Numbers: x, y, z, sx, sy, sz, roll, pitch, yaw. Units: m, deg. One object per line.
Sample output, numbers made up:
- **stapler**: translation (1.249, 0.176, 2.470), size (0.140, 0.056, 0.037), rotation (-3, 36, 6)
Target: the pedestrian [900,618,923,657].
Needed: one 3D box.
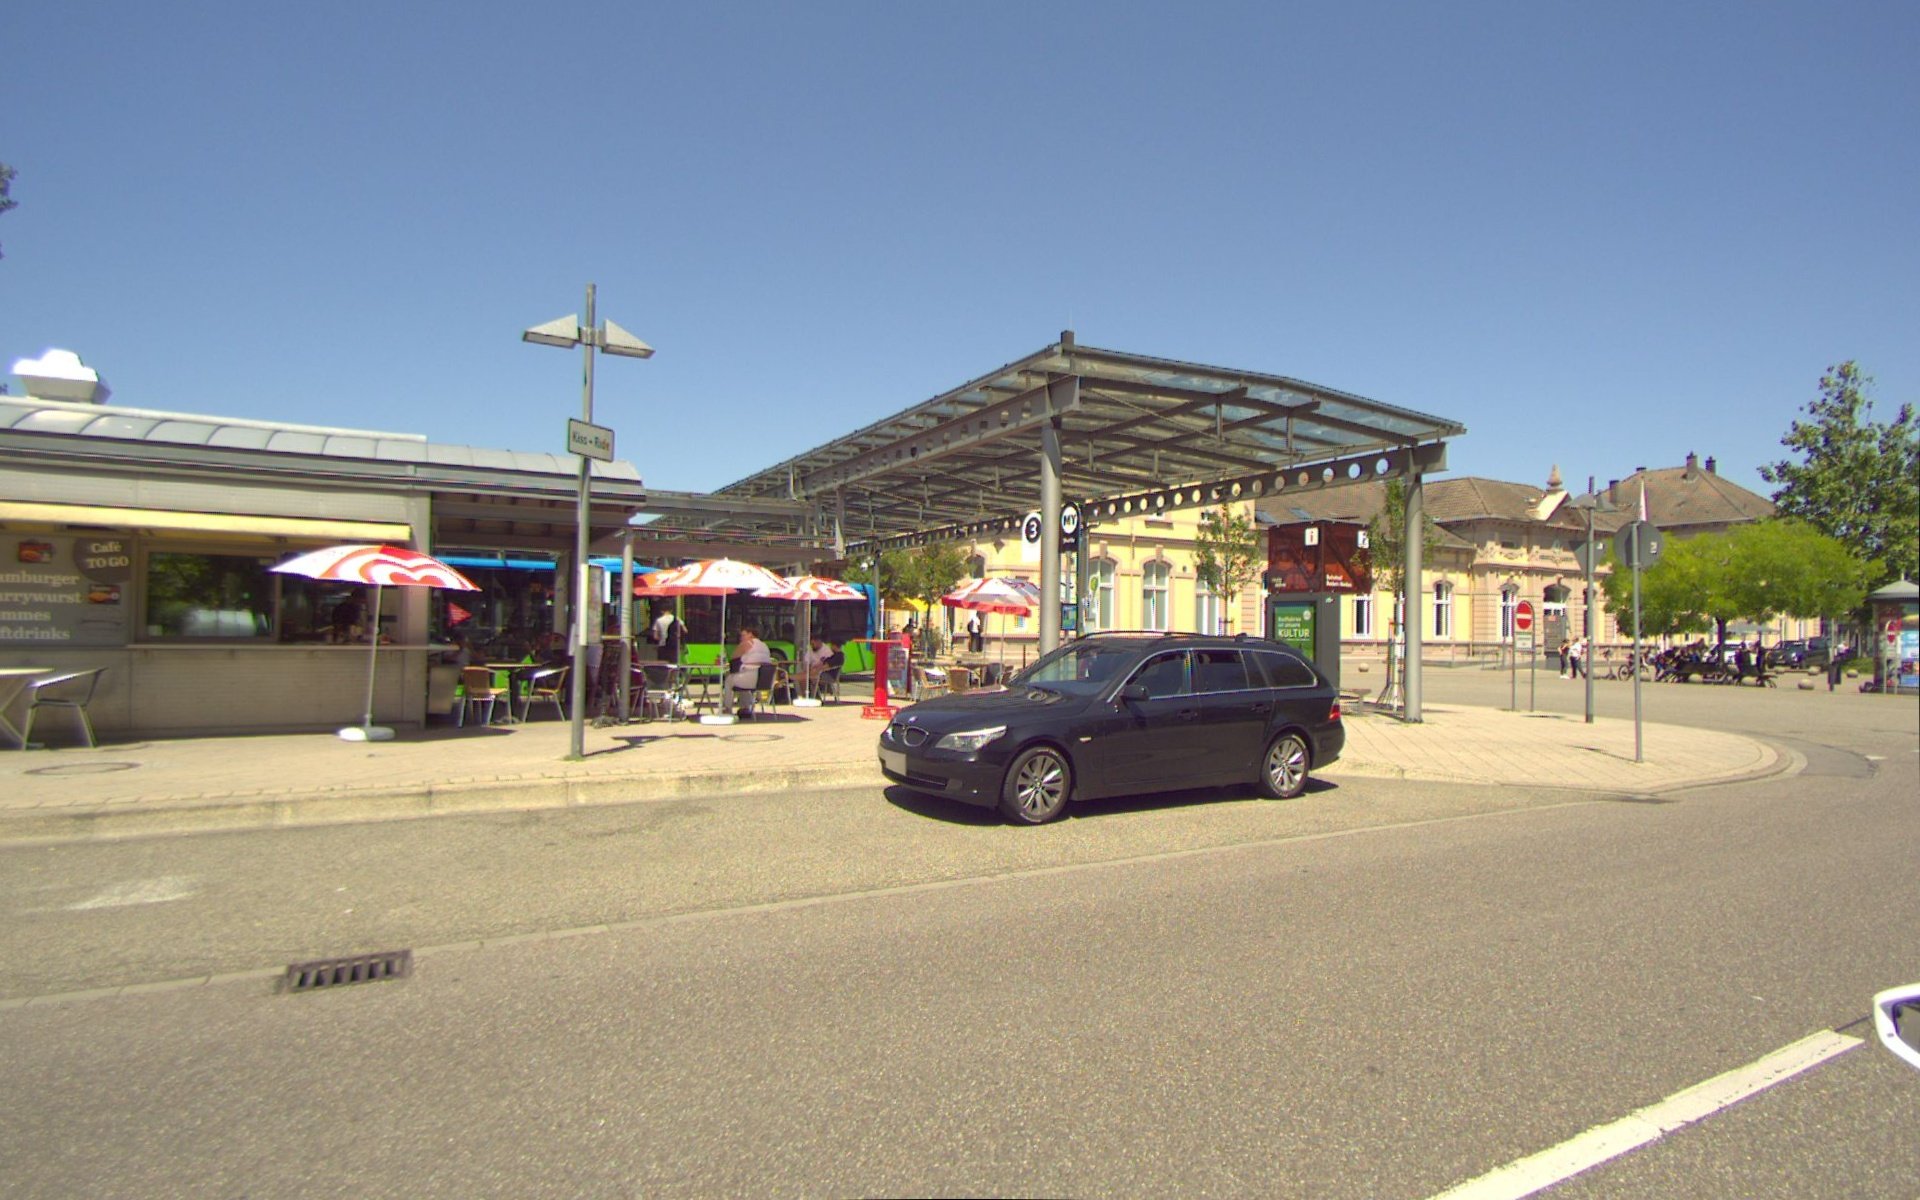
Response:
- **pedestrian**: translation (-2.155, 1.674, 44.790), size (0.771, 1.708, 0.660), rotation (0, -1, -37)

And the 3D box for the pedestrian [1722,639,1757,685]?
- **pedestrian**: translation (29.434, 2.339, 37.915), size (0.708, 1.680, 0.761), rotation (3, -2, -12)

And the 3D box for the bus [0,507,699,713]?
- **bus**: translation (-11.353, 0.323, 19.727), size (11.699, 3.275, 2.954), rotation (2, -2, -28)

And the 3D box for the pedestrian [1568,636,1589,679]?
- **pedestrian**: translation (25.414, 2.371, 41.267), size (0.574, 1.732, 0.588), rotation (2, -2, 15)

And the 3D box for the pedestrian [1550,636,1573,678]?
- **pedestrian**: translation (24.750, 2.352, 41.367), size (0.644, 1.695, 0.632), rotation (2, -3, 15)

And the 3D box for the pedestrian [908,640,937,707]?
- **pedestrian**: translation (-0.651, 1.278, 17.464), size (0.417, 1.137, 0.372), rotation (2, -2, 5)

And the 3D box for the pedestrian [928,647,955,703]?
- **pedestrian**: translation (-0.342, 1.362, 18.250), size (0.366, 0.985, 0.424), rotation (3, -3, -16)

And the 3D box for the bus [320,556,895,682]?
- **bus**: translation (-9.470, 0.677, 29.371), size (15.321, 3.077, 2.856), rotation (2, -2, -28)

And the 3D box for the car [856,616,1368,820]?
- **car**: translation (1.546, 0.972, 9.371), size (4.731, 1.498, 1.710), rotation (2, -2, -31)

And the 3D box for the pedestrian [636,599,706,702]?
- **pedestrian**: translation (-5.410, 0.953, 18.875), size (1.122, 1.851, 0.800), rotation (3, -3, -13)

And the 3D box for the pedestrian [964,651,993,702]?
- **pedestrian**: translation (0.356, 1.458, 19.153), size (0.365, 0.935, 0.425), rotation (1, -3, 32)

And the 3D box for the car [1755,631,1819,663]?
- **car**: translation (54.060, 3.060, 65.663), size (3.953, 2.040, 1.984), rotation (2, -2, -30)

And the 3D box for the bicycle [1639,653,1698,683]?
- **bicycle**: translation (26.473, 2.537, 37.555), size (1.770, 1.044, 0.487), rotation (0, -2, 38)

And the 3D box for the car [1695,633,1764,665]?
- **car**: translation (47.886, 3.036, 62.457), size (4.719, 1.942, 1.743), rotation (2, -2, -30)
